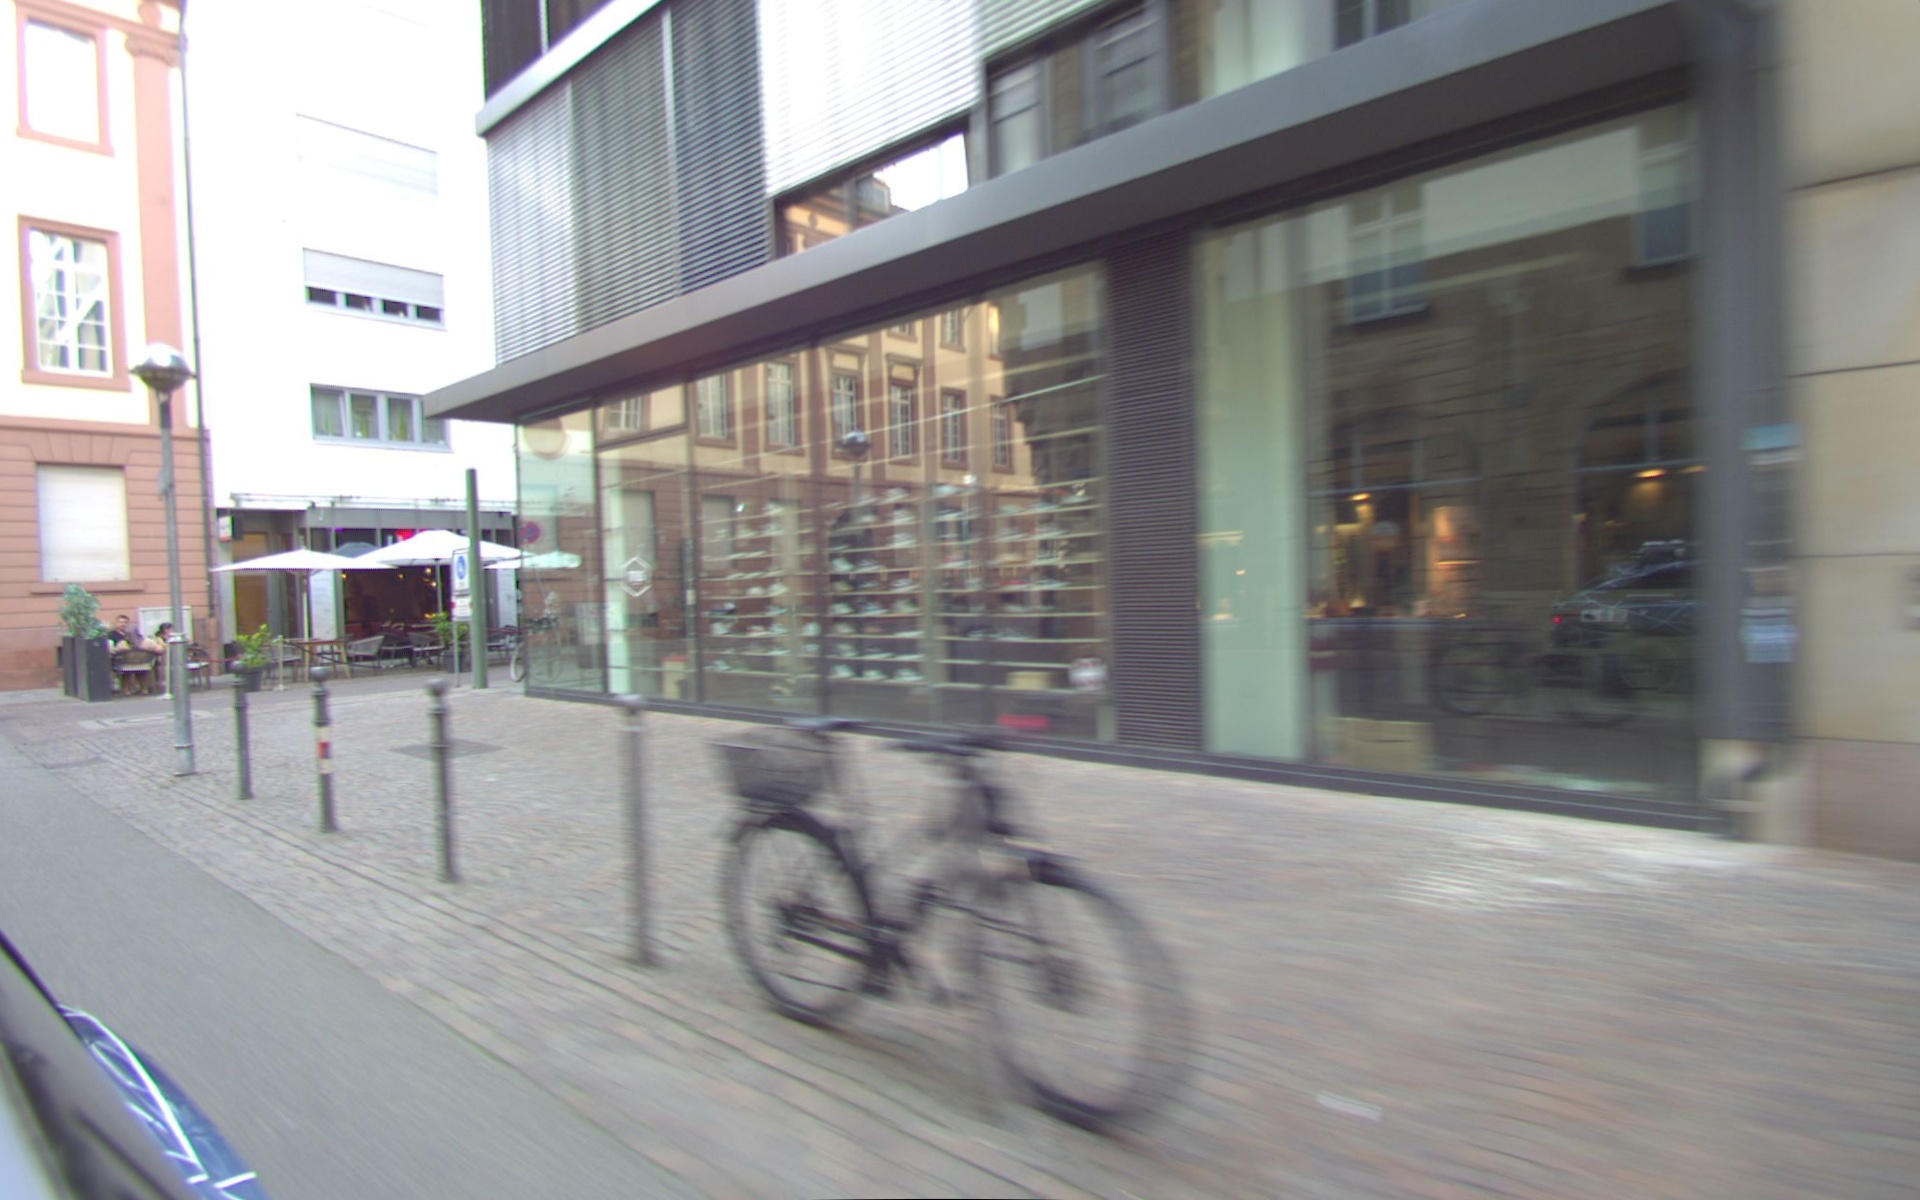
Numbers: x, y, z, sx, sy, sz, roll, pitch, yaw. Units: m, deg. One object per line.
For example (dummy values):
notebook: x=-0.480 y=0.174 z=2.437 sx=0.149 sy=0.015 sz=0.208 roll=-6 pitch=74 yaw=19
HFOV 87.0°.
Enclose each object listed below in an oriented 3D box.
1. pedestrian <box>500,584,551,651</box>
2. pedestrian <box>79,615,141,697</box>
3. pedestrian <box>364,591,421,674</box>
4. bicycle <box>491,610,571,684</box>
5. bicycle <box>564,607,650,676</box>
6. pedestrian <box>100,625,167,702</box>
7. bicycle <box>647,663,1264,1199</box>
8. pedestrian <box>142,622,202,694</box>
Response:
pedestrian: x=-11.174 y=0.445 z=26.046 sx=0.854 sy=1.671 sz=0.793 roll=-2 pitch=1 yaw=25
pedestrian: x=-14.854 y=0.962 z=17.681 sx=0.792 sy=1.341 sz=0.665 roll=0 pitch=2 yaw=40
pedestrian: x=-11.843 y=0.669 z=21.127 sx=0.791 sy=1.661 sz=0.717 roll=-2 pitch=1 yaw=36
bicycle: x=-7.000 y=0.777 z=16.471 sx=1.702 sy=1.145 sz=0.461 roll=-4 pitch=-1 yaw=41
bicycle: x=-6.282 y=0.756 z=17.965 sx=2.015 sy=1.130 sz=0.461 roll=-4 pitch=-1 yaw=41
pedestrian: x=-13.786 y=1.038 z=16.886 sx=0.791 sy=1.192 sz=0.665 roll=0 pitch=2 yaw=36
bicycle: x=-0.144 y=0.791 z=2.949 sx=1.928 sy=1.141 sz=0.406 roll=-1 pitch=1 yaw=38
pedestrian: x=-14.097 y=1.021 z=18.102 sx=0.792 sy=1.192 sz=0.665 roll=0 pitch=2 yaw=40
